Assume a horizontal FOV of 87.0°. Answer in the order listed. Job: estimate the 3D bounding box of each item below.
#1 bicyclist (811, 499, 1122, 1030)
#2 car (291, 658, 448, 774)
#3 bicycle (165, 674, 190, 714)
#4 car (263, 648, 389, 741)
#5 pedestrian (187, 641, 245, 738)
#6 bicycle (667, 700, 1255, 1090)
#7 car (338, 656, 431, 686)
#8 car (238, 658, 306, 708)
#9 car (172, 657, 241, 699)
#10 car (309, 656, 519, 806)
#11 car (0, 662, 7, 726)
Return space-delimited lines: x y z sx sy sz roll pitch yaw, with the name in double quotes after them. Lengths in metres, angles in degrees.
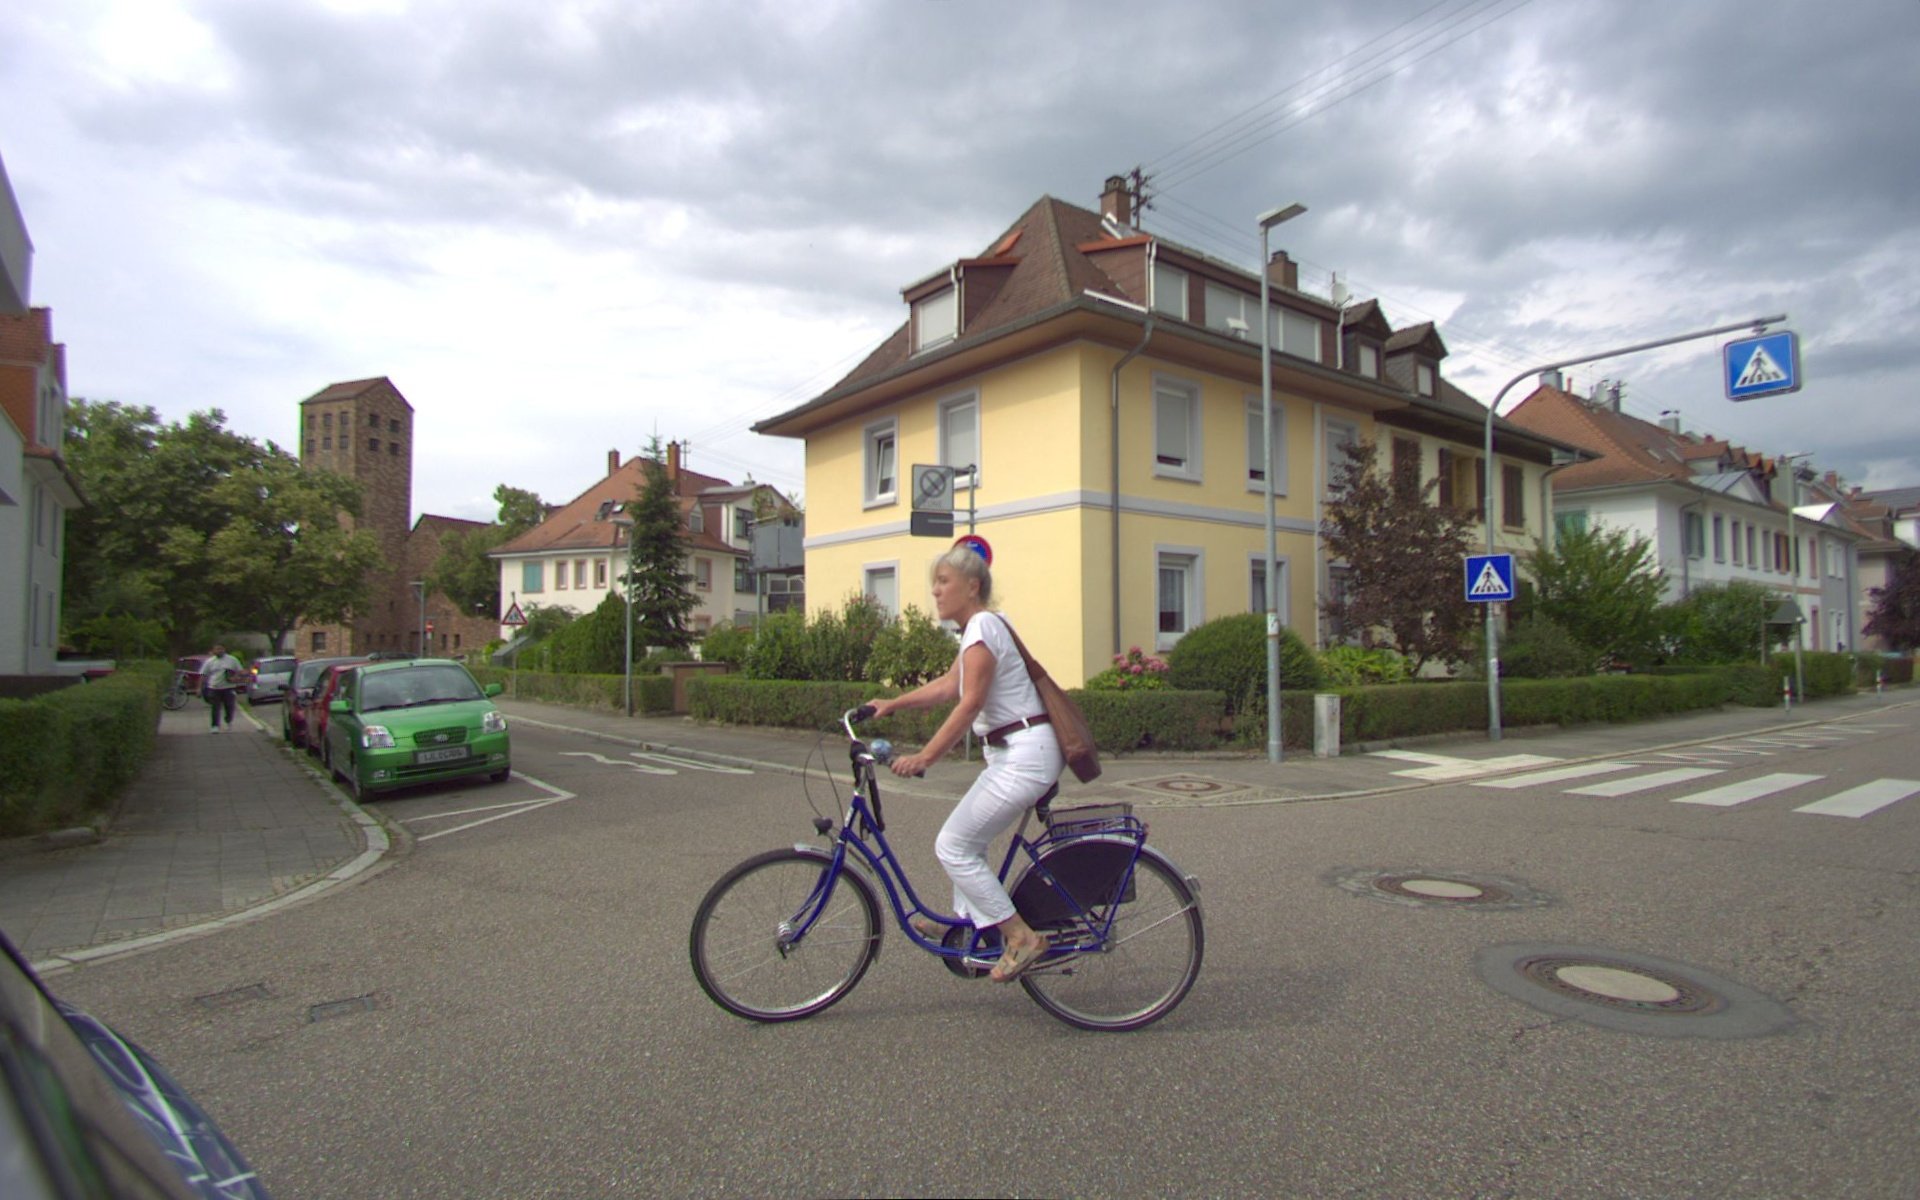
0.032 0.541 3.606 0.963 1.679 0.698 -2 -3 4 "bicyclist"
-9.389 1.720 15.968 1.624 1.507 3.488 -2 -1 -38 "car"
-22.957 2.741 29.670 0.417 1.112 2.118 2 -4 -41 "bicycle"
-12.160 1.738 19.325 1.624 1.507 3.488 -2 -1 -38 "car"
-15.060 1.785 20.494 0.870 1.893 1.081 2 -4 -37 "pedestrian"
-0.003 0.979 3.581 1.849 1.161 0.706 -2 -3 5 "bicycle"
-31.226 3.825 54.973 4.159 1.475 1.687 2 -3 -38 "car"
-23.212 2.752 34.096 1.624 1.507 3.488 -2 -1 -38 "car"
-30.197 3.118 40.525 3.481 1.507 1.628 -4 -2 43 "car"
-6.698 1.446 12.245 1.624 1.432 3.488 -2 -1 -38 "car"
-23.524 2.100 21.926 3.935 1.475 2.004 2 -4 -37 "car"
